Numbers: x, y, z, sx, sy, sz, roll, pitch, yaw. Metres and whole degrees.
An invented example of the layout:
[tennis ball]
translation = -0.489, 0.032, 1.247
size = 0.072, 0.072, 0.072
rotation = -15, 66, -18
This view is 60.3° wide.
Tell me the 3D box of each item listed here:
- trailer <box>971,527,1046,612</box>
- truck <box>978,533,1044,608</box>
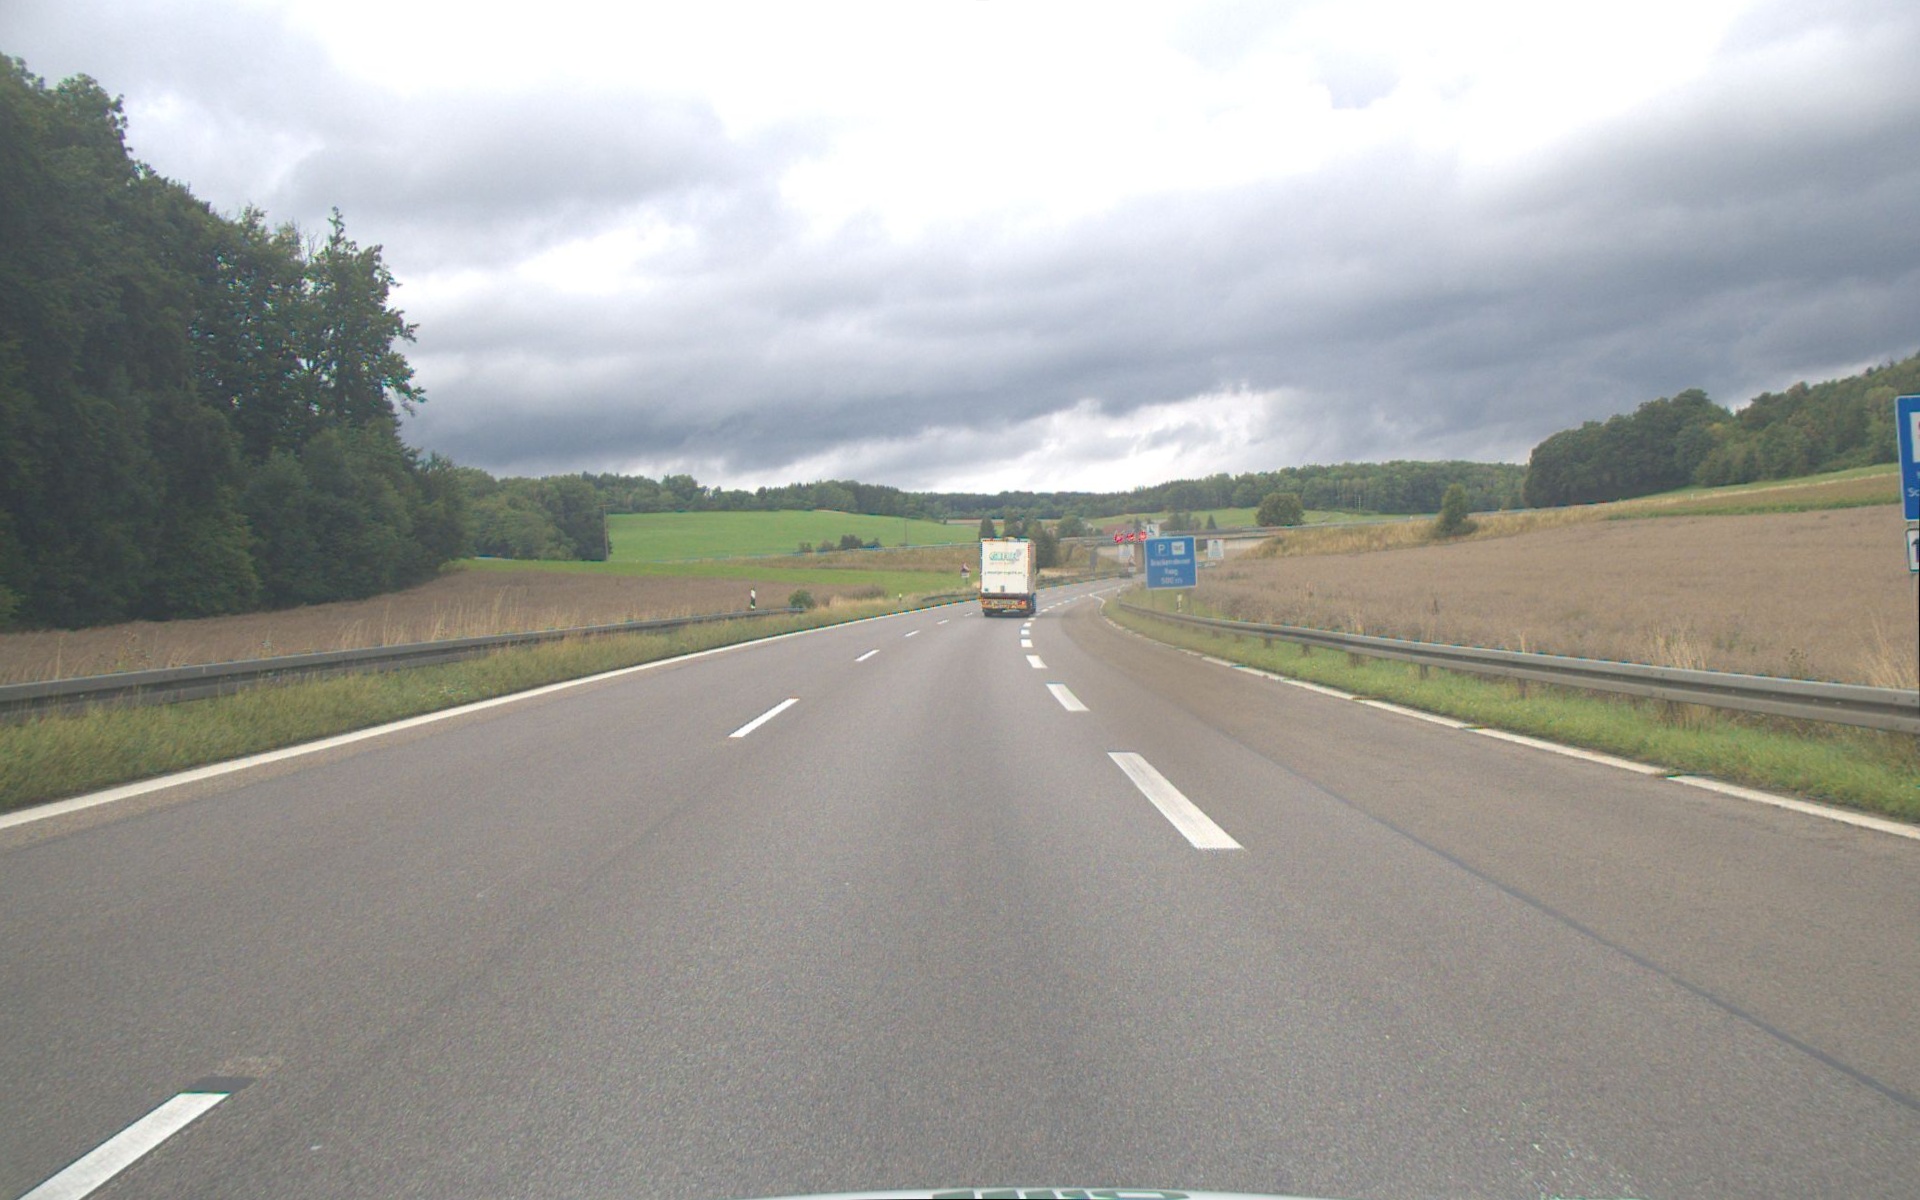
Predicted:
[trailer]
translation = 2.754, -1.618, 90.616
size = 3.726, 4.247, 14.813
rotation = -1, 1, 2
[truck]
translation = 2.991, -1.688, 97.903
size = 3.709, 4.204, 8.266
rotation = -1, 0, 1
